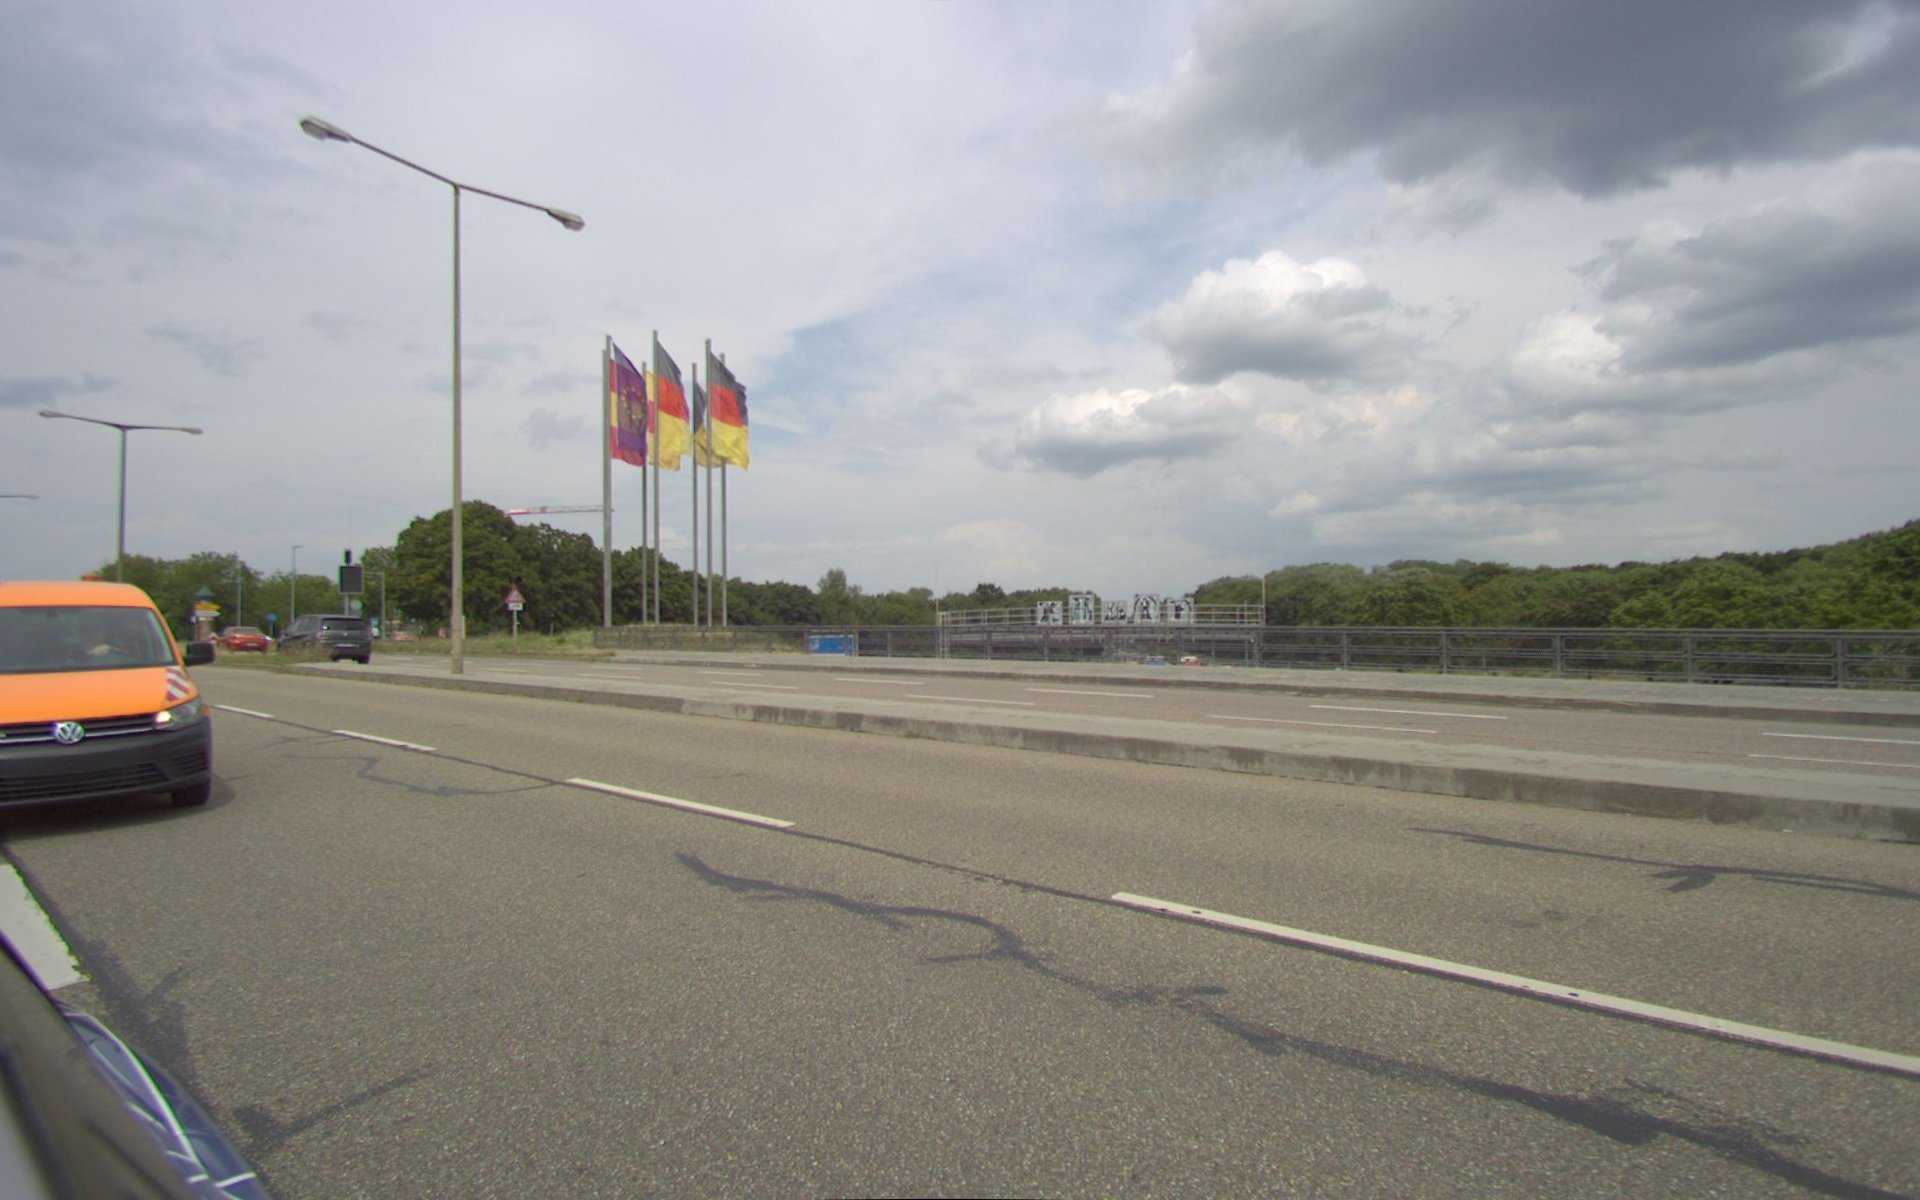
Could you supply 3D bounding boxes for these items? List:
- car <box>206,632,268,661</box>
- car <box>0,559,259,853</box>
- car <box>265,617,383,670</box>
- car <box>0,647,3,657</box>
[{"bbox_3d":[-38.887,2.497,54.408,3.995,1.505,1.674,-2,-4,39],"label":"car"},{"bbox_3d":[-7.466,0.730,8.163,4.426,1.849,1.869,-2,-1,40],"label":"car"},{"bbox_3d":[-21.176,1.465,33.632,4.658,1.652,1.973,-2,-4,40],"label":"car"},{"bbox_3d":[-129.786,6.982,135.779,3.467,1.246,1.674,-2,-1,40],"label":"car"}]
